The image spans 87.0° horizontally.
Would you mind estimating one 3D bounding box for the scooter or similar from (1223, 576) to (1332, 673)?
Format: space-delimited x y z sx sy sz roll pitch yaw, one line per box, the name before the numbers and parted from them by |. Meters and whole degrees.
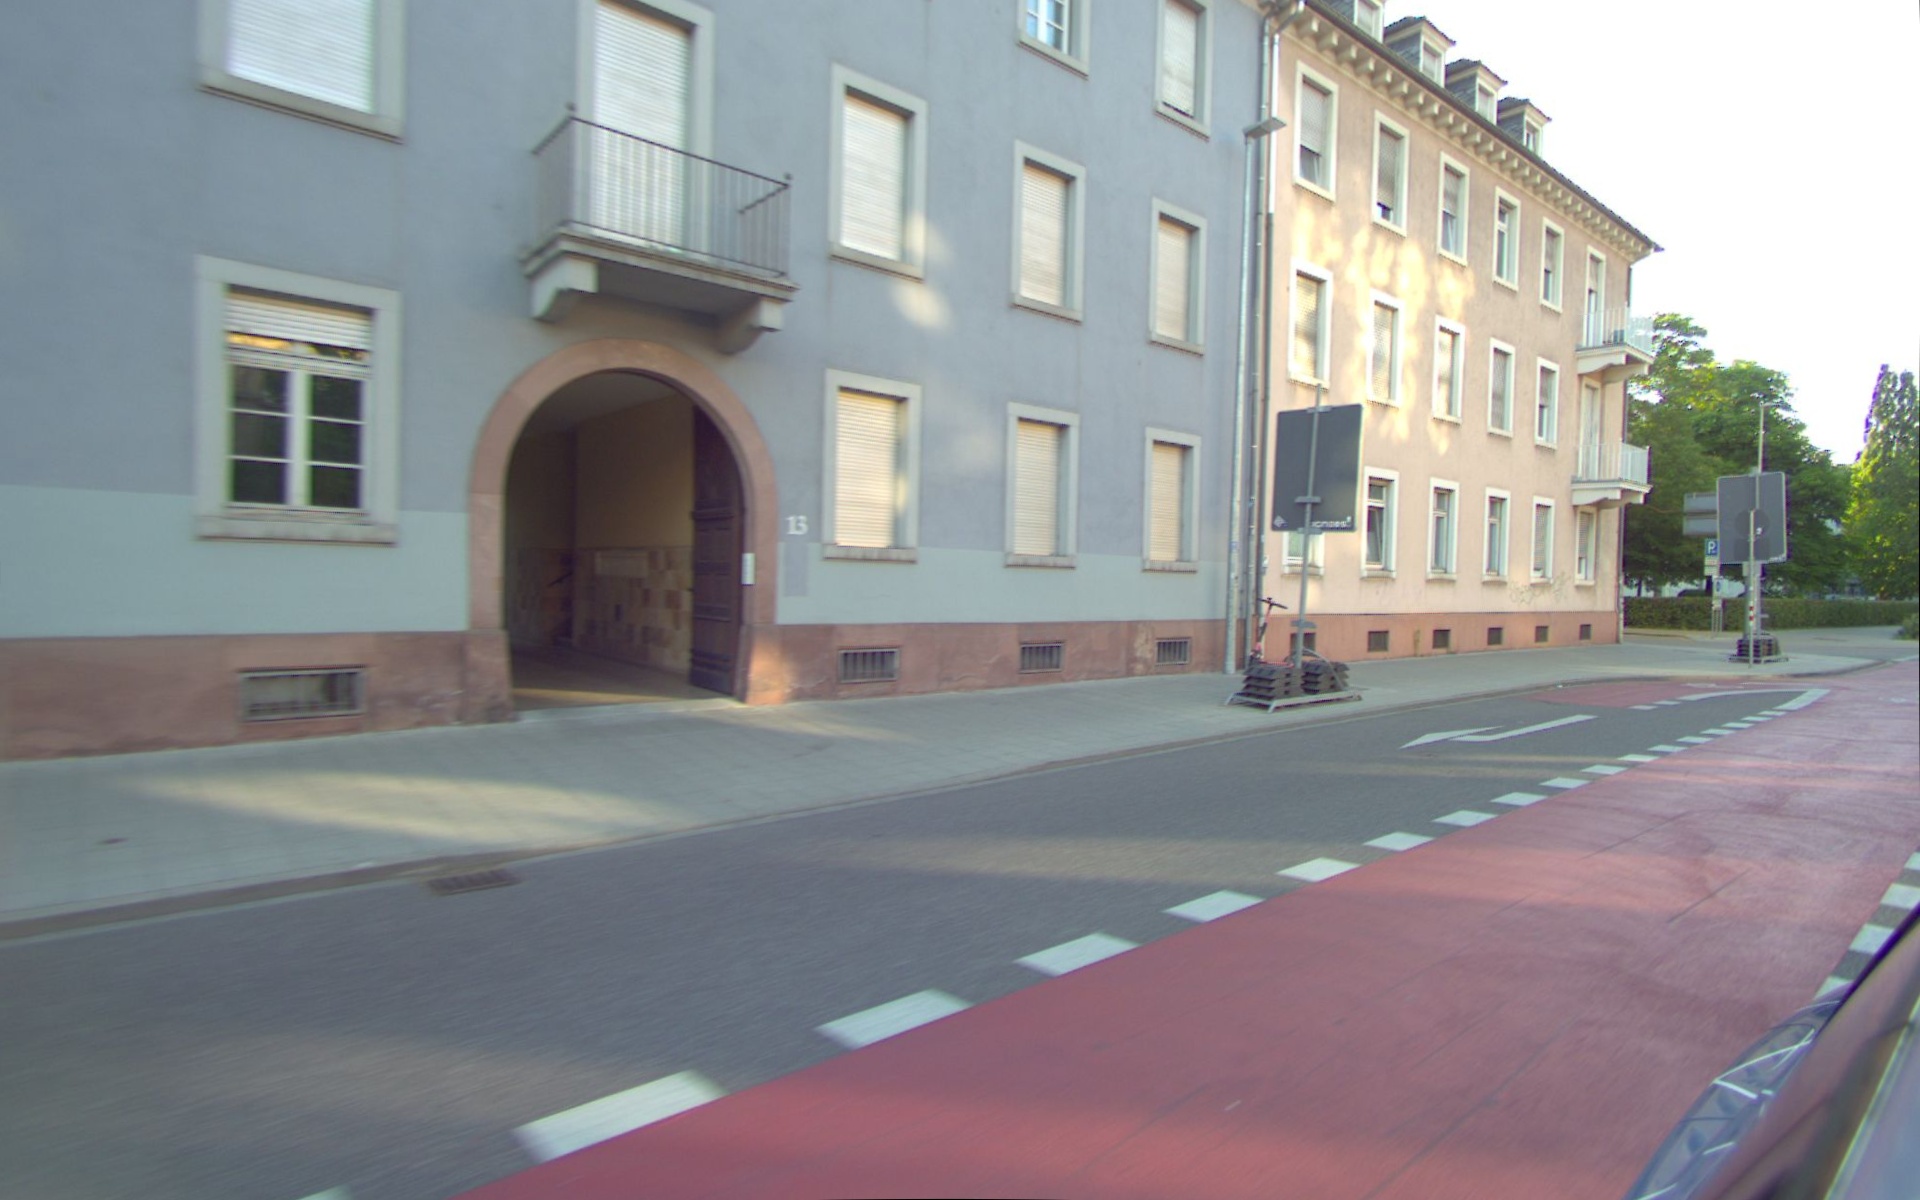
scooter or similar | 5.199 0.381 16.559 1.639 1.476 0.729 1 3 -31
